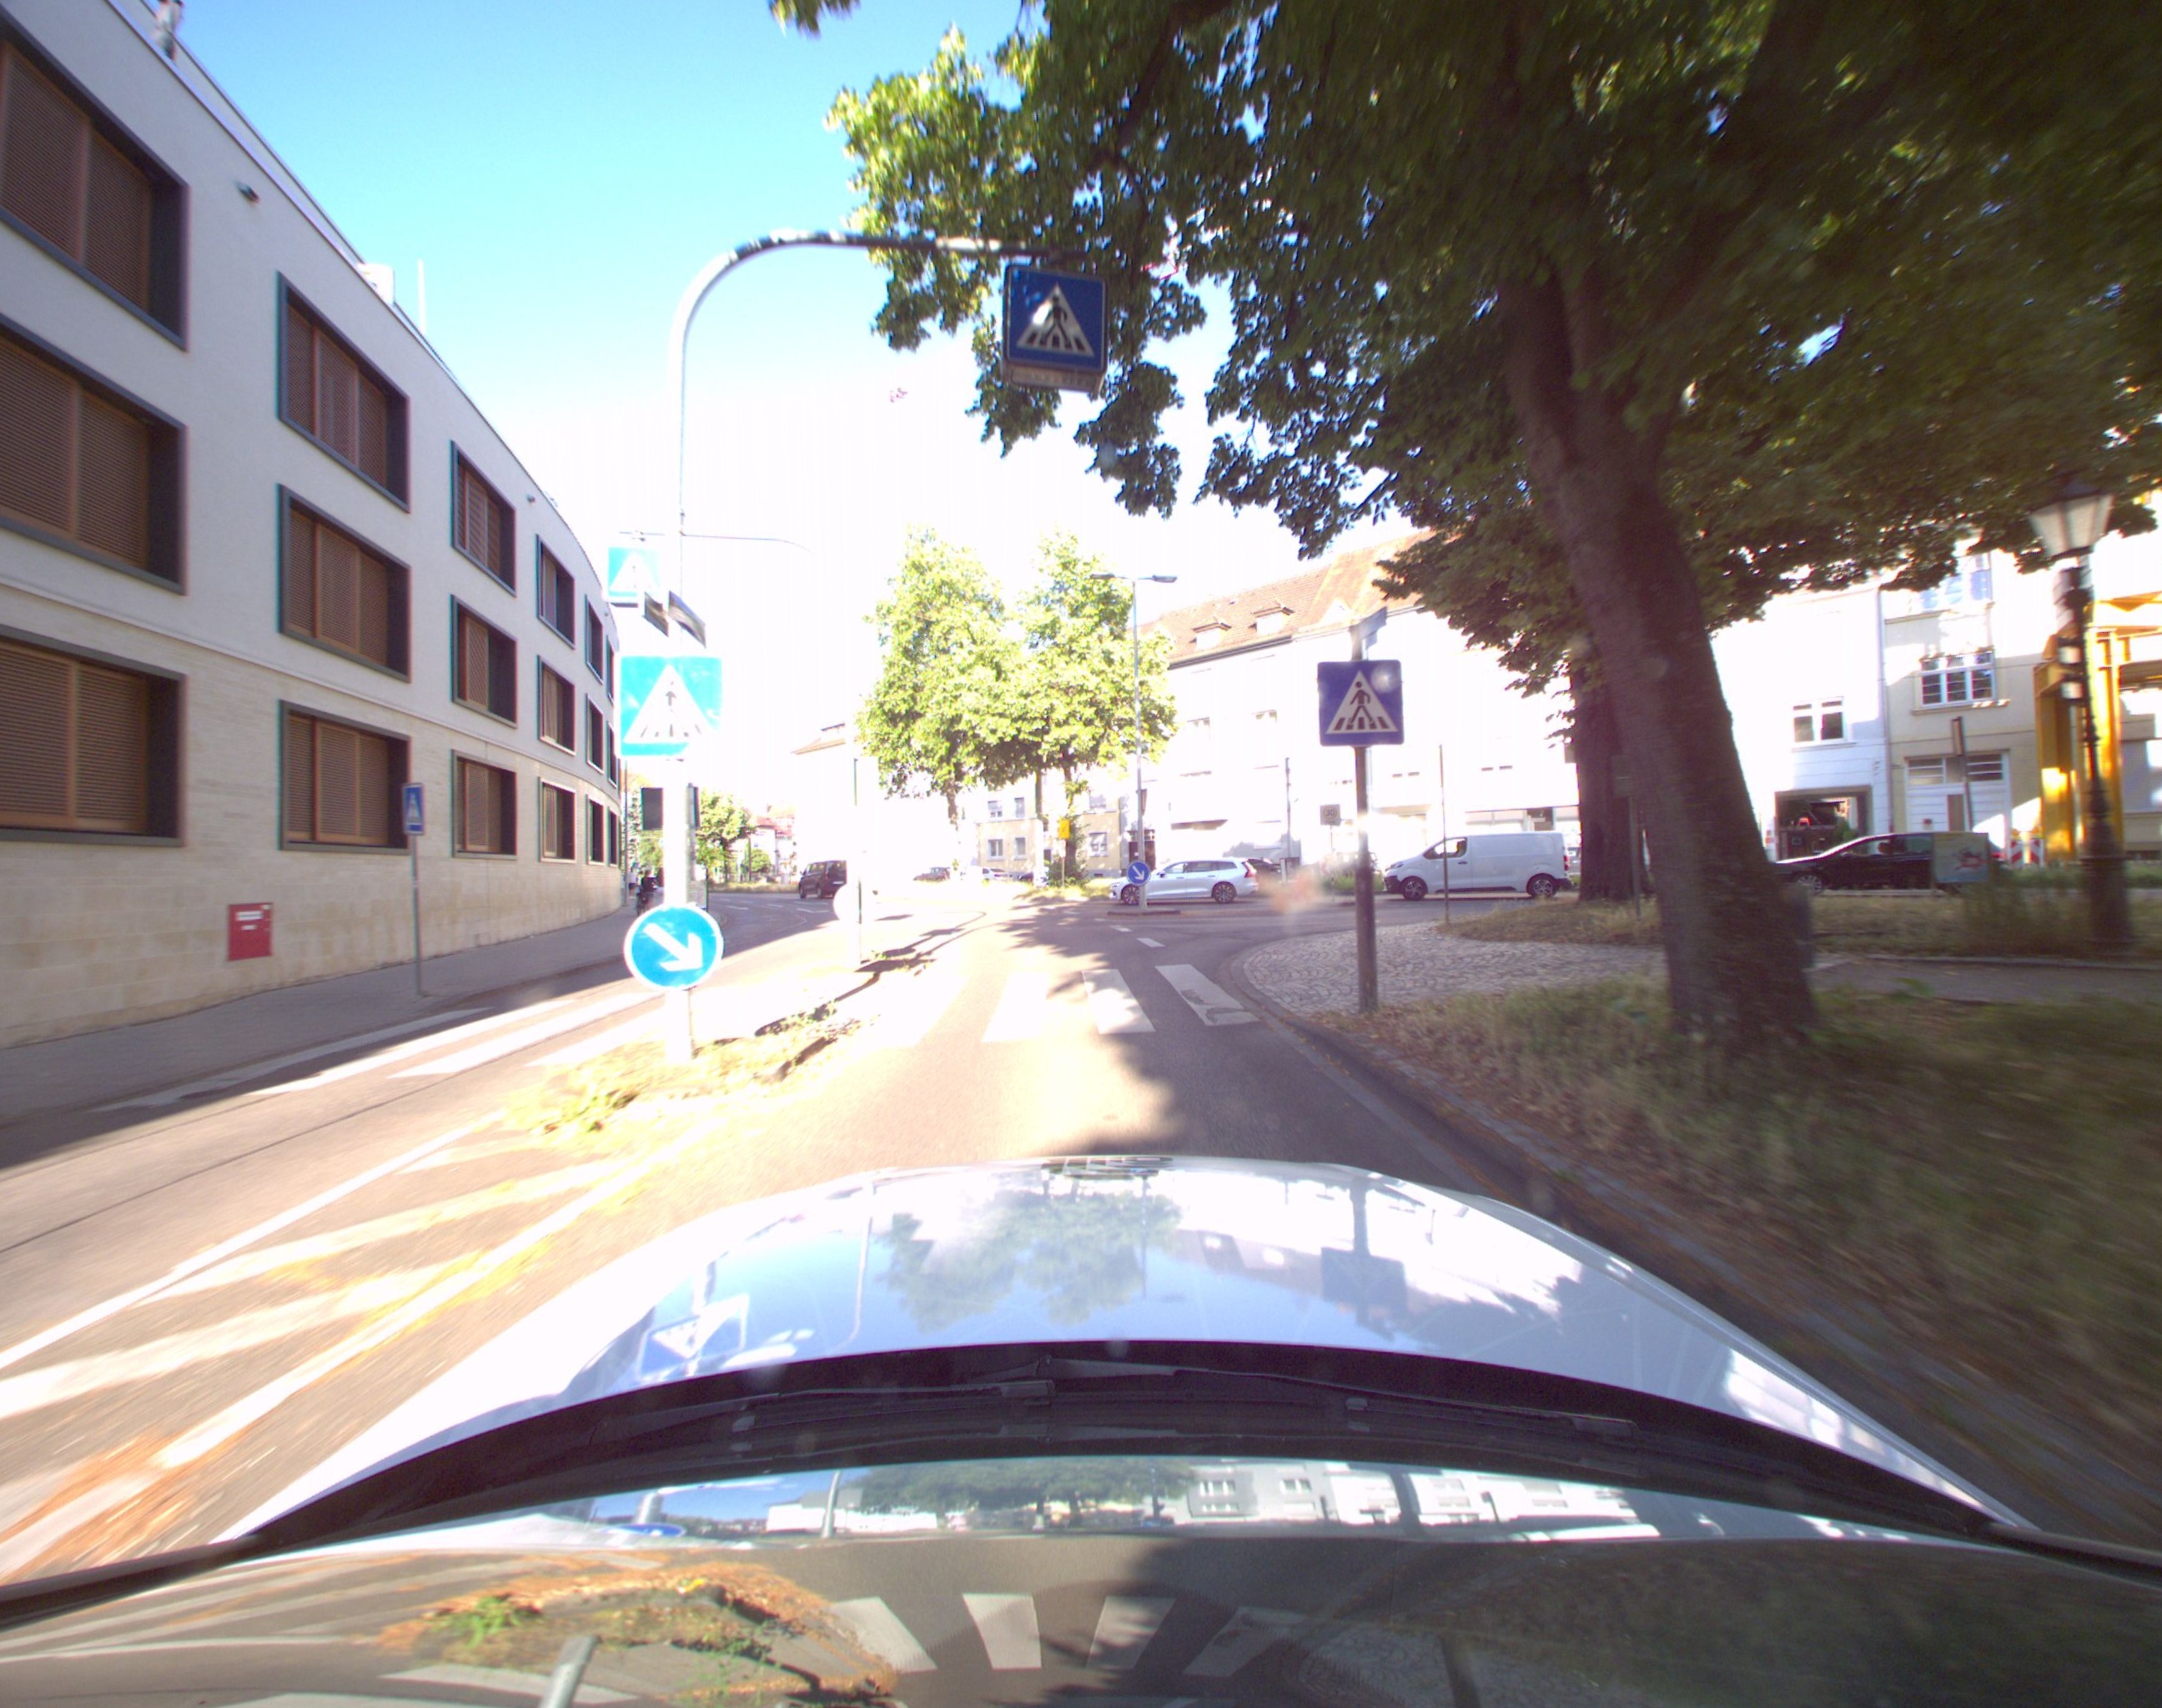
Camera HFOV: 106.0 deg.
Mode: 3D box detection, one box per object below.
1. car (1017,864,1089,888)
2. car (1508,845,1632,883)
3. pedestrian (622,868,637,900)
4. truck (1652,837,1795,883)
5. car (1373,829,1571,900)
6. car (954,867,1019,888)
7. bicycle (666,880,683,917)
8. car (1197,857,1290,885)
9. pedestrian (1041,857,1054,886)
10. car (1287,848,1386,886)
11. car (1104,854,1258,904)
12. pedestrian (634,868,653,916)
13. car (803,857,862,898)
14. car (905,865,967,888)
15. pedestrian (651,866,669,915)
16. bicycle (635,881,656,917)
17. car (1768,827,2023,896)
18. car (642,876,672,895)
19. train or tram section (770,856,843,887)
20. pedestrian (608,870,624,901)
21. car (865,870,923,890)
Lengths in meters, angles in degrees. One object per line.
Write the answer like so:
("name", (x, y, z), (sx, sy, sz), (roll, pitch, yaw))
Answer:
("car", (-1.843, 1.403, 52.108), (4.389, 1.386, 2.013), (-2, 0, 40))
("car", (19.928, 0.426, 33.245), (4.044, 1.452, 2.012), (-2, 0, 41))
("pedestrian", (-26.111, 1.722, 47.104), (0.610, 1.849, 0.982), (1, -3, -35))
("truck", (23.807, 0.244, 30.264), (4.044, 1.585, 2.012), (-2, 0, 41))
("car", (10.980, 0.310, 23.203), (4.843, 1.854, 2.011), (-2, 0, 23))
("car", (-6.594, 1.646, 56.683), (4.389, 1.386, 2.013), (-2, 0, 40))
("bicycle", (-13.954, 1.510, 27.997), (0.442, 1.178, 1.951), (0, -1, -24))
("car", (8.564, 0.907, 43.080), (4.389, 1.386, 2.013), (-2, 0, 40))
("pedestrian", (-2.363, 1.219, 57.209), (0.641, 2.014, 0.617), (-3, -2, 41))
("car", (12.446, 0.639, 39.796), (4.155, 1.749, 2.013), (-2, 0, 40))
("car", (3.256, 0.788, 26.204), (4.726, 1.463, 1.860), (-1, 0, 11))
("pedestrian", (-14.878, 1.281, 27.709), (0.476, 1.565, 0.597), (-2, -1, -24))
("car", (-12.872, 1.176, 42.087), (2.006, 2.014, 3.960), (0, -1, -31))
("car", (-10.796, 1.682, 60.431), (4.581, 1.572, 2.013), (-3, -1, 40))
("pedestrian", (-14.422, 1.236, 27.895), (0.476, 1.647, 0.597), (-2, 0, -24))
("bicycle", (-14.858, 1.528, 27.812), (0.377, 1.167, 1.824), (2, -2, -21))
("car", (18.757, 0.175, 19.068), (4.020, 1.444, 2.012), (-2, 0, 41))
("car", (-36.796, 2.745, 70.581), (1.972, 1.505, 3.647), (-2, 0, -32))
("train or tram section", (-33.295, 2.045, 99.310), (2.752, 3.556, 9.970), (-2, -1, 21))
("pedestrian", (-26.660, 1.797, 46.732), (0.707, 1.714, 0.833), (1, -3, -36))
("car", (-14.685, 2.037, 63.863), (4.388, 1.386, 2.013), (-2, 0, 37))
